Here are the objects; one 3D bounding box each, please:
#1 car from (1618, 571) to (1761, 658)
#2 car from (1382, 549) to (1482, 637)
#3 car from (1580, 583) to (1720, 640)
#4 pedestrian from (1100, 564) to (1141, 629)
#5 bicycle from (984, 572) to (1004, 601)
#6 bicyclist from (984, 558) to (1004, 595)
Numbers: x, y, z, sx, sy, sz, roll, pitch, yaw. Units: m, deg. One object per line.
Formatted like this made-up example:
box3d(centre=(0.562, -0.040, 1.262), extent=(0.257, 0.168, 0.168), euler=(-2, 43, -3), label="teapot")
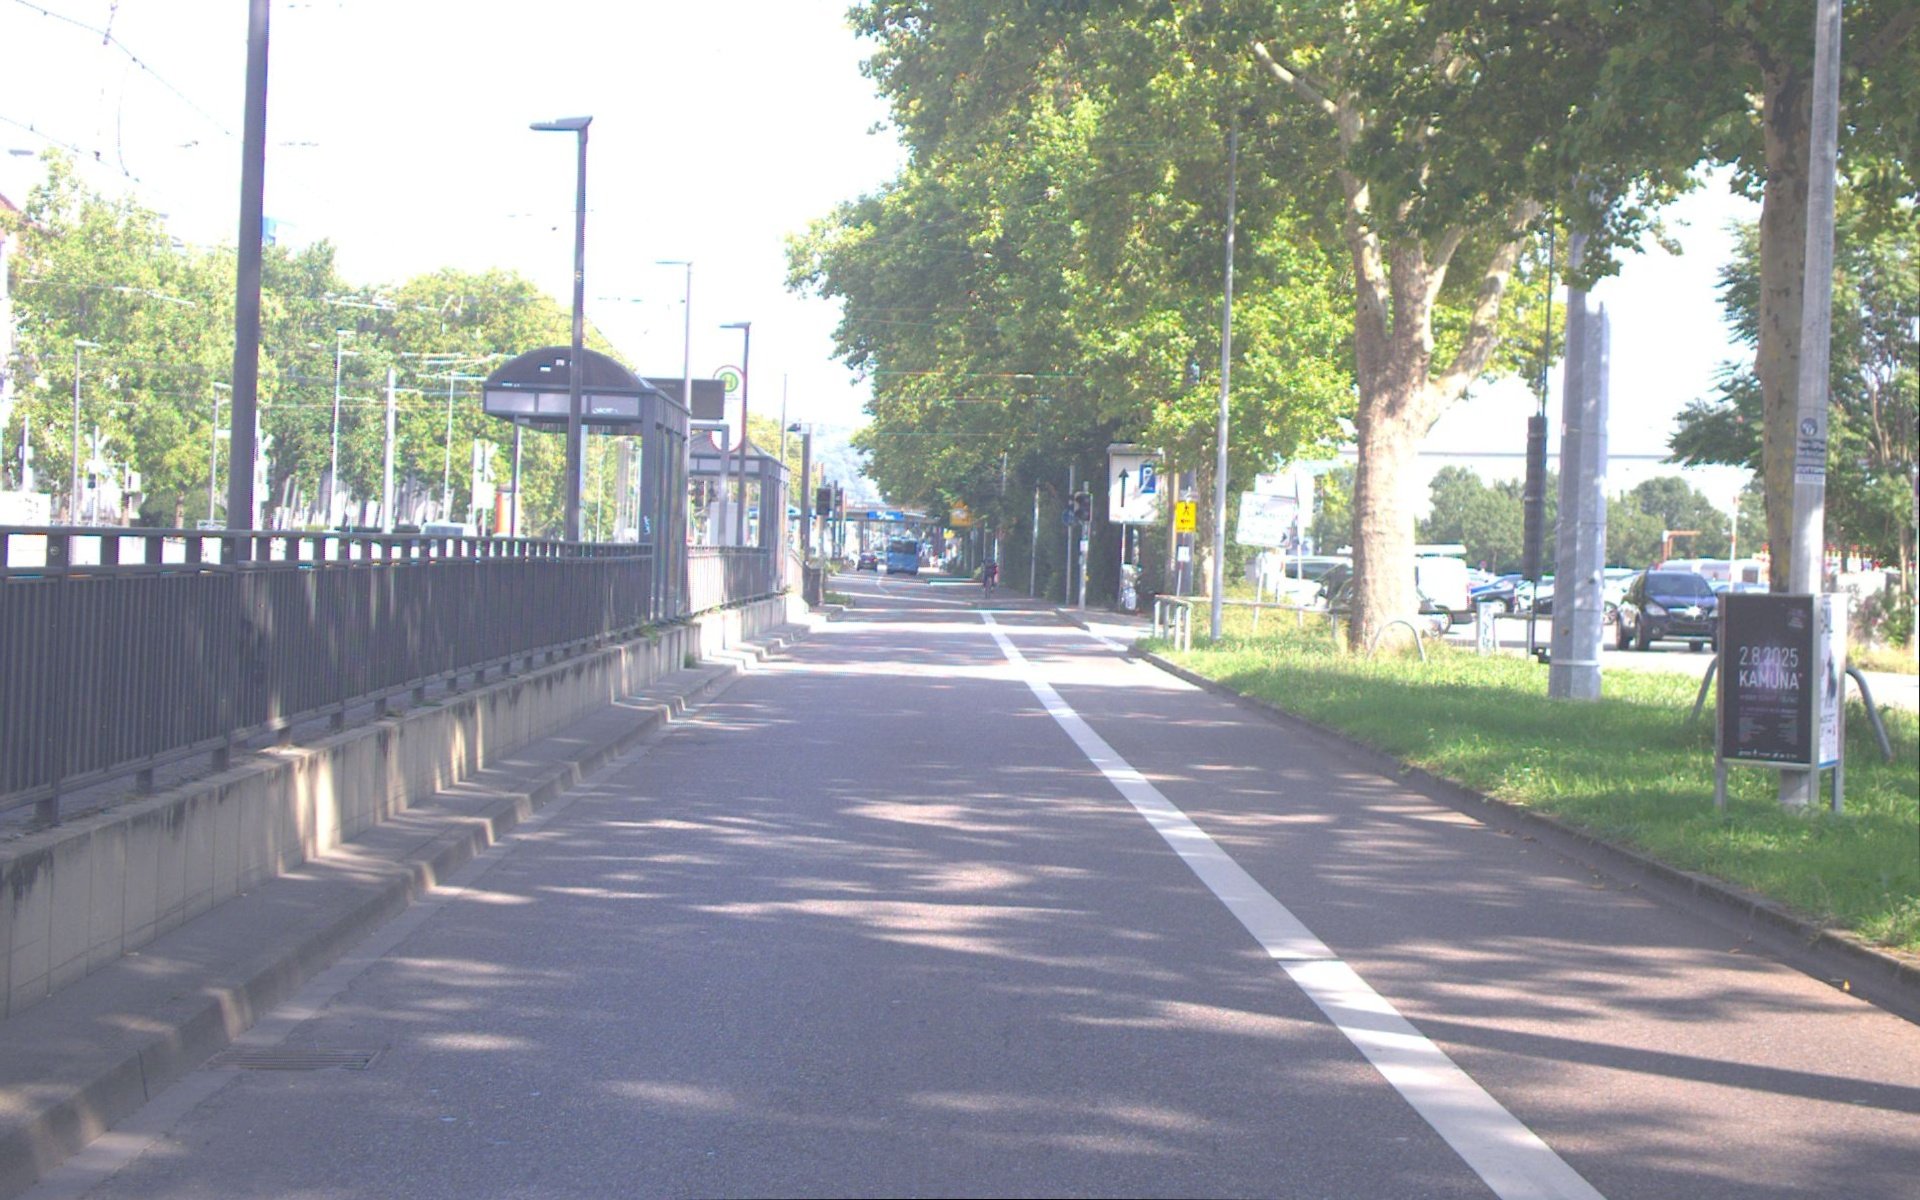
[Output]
box3d(centre=(15.052, 0.287, 70.787), extent=(1.724, 1.673, 4.242), euler=(2, 1, 28), label="car")
box3d(centre=(11.532, -0.200, 84.266), extent=(1.722, 2.041, 4.462), euler=(2, 1, -1), label="car")
box3d(centre=(20.032, 0.332, 99.906), extent=(3.775, 1.441, 1.526), euler=(3, 0, 6), label="car")
box3d(centre=(4.074, -0.090, 87.329), extent=(0.626, 1.612, 0.843), euler=(2, 1, 37), label="pedestrian")
box3d(centre=(1.344, -0.533, 136.786), extent=(0.715, 1.104, 2.509), euler=(3, 0, -1), label="bicycle")
box3d(centre=(1.367, -0.935, 136.842), extent=(0.705, 1.456, 1.009), euler=(3, 0, -1), label="bicyclist")
